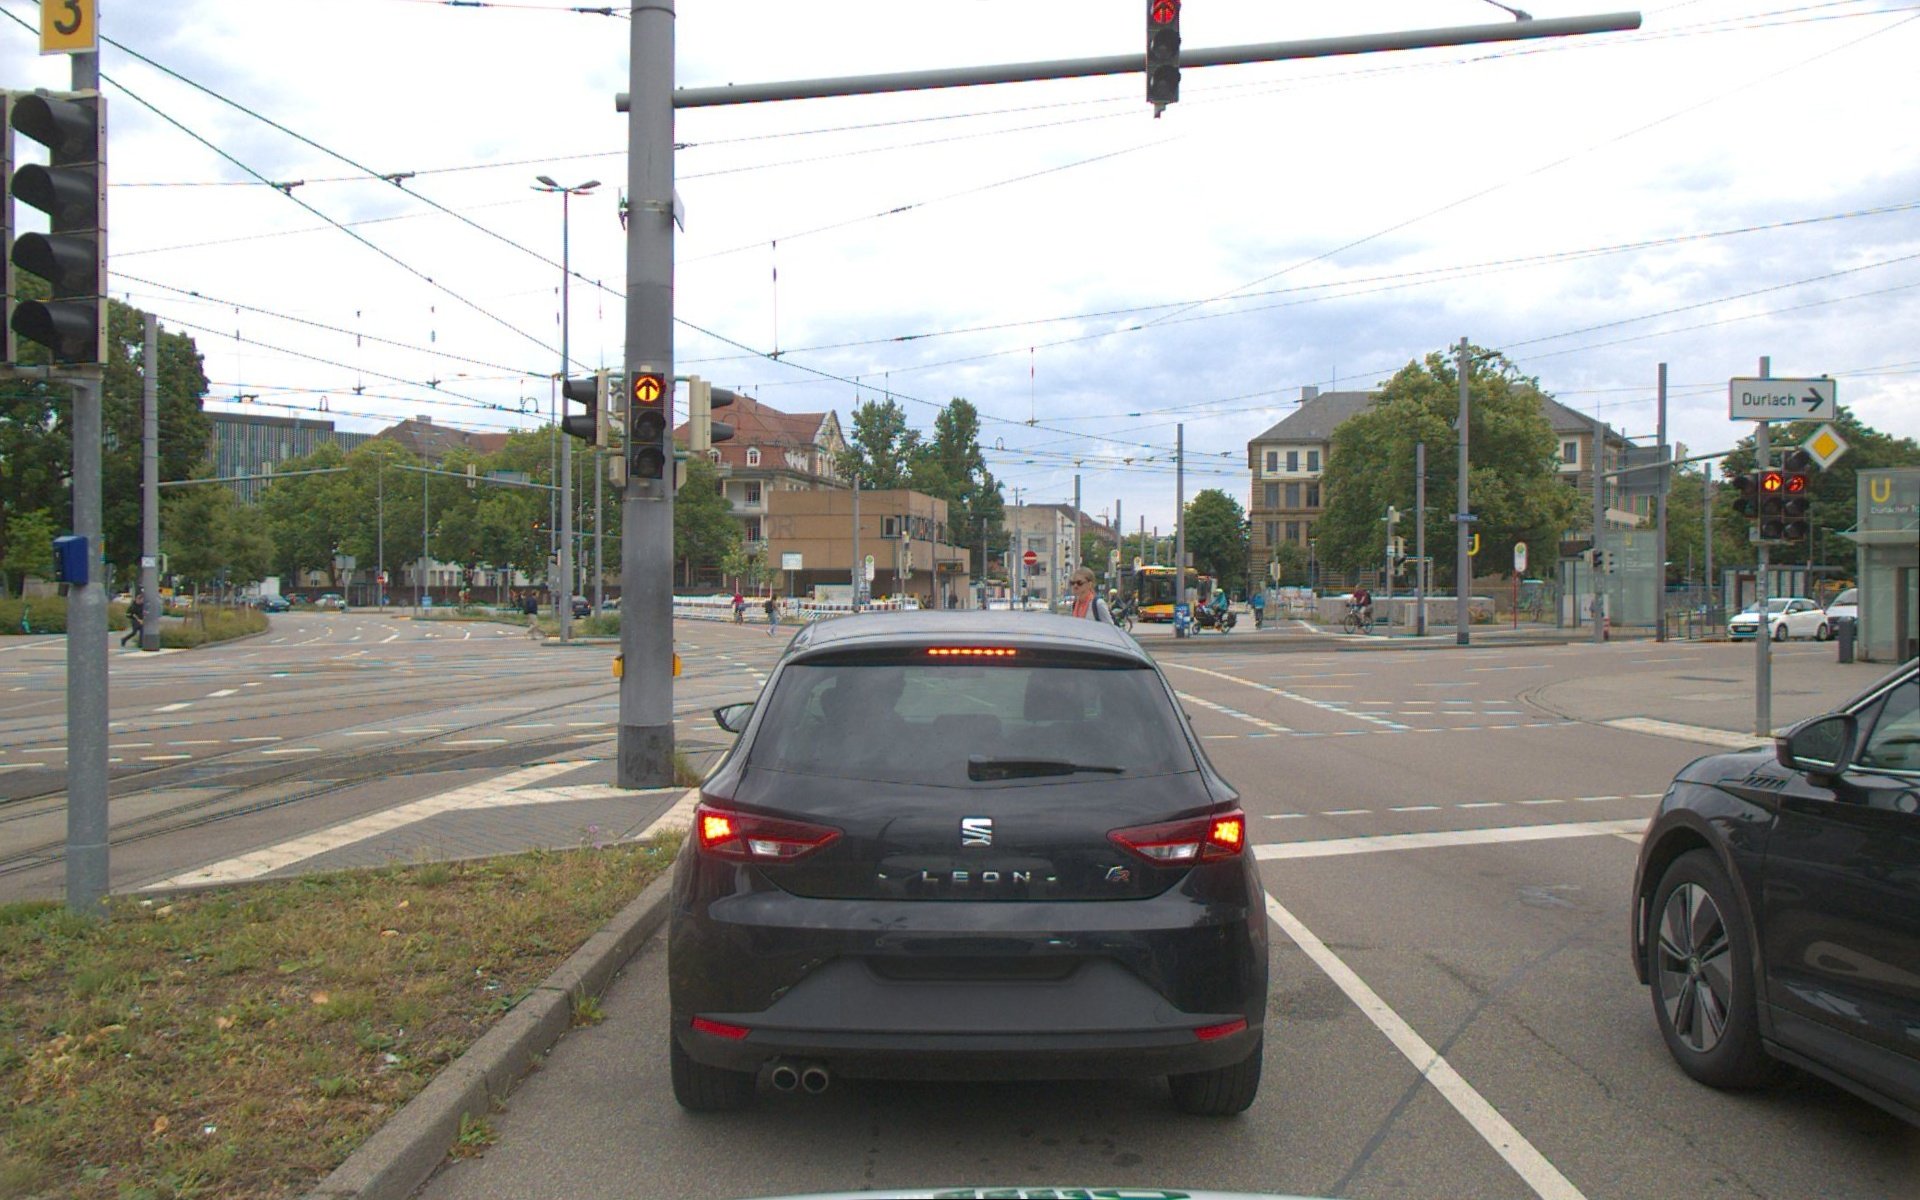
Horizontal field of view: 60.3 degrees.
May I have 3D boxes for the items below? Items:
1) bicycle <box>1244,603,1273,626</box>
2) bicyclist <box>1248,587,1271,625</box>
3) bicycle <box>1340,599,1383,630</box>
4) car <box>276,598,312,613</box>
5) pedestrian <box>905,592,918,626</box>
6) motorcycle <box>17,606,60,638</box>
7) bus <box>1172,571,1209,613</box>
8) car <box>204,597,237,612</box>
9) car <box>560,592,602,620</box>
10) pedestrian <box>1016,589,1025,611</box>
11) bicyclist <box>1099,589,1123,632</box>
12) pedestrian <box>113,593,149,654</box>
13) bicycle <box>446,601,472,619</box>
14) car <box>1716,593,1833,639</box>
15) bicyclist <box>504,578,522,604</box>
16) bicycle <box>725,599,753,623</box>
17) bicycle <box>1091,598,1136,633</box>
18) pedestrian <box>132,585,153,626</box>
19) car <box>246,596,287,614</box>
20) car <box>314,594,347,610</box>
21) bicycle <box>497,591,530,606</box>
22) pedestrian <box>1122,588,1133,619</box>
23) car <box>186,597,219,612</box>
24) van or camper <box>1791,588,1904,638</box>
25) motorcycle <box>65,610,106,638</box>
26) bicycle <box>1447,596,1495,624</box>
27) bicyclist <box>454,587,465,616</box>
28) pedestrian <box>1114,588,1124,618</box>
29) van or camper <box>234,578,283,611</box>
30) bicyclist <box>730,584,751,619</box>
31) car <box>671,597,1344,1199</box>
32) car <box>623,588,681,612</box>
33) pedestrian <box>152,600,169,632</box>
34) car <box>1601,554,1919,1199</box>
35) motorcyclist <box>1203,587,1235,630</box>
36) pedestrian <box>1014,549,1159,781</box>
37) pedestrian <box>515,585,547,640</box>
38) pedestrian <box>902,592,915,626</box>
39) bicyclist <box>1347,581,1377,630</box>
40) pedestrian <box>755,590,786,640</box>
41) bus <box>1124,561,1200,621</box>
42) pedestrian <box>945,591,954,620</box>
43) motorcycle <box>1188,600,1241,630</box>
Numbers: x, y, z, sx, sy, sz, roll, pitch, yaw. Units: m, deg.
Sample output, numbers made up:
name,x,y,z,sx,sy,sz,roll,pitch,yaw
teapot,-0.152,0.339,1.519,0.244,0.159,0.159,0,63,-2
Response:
name,x,y,z,sx,sy,sz,roll,pitch,yaw
bicycle,14.843,0.700,82.219,0.849,1.124,2.299,0,0,-5
bicyclist,14.857,0.297,82.114,0.854,1.884,1.046,0,0,-6
bicycle,15.766,0.554,64.923,0.764,1.205,2.019,0,0,43
car,-66.291,0.524,164.587,3.930,1.489,1.770,1,1,43
pedestrian,-2.873,0.529,97.323,0.693,1.951,0.624,0,0,7
motorcycle,-37.896,0.899,68.007,0.503,1.290,1.463,0,0,43
bus,19.156,-0.624,136.969,2.597,3.340,11.004,0,0,10
car,-75.361,0.484,168.558,3.932,1.489,1.770,1,1,44
car,-23.949,0.411,104.394,1.966,1.713,3.973,0,-1,-22
pedestrian,5.212,0.002,142.547,0.609,1.952,0.710,-1,-1,25
bicyclist,5.959,0.403,65.281,0.837,1.702,0.653,0,0,-5
pedestrian,-28.370,0.786,56.609,1.006,2.049,0.841,0,0,-20
bicycle,-35.829,0.738,118.280,0.427,1.258,1.817,-2,-2,42
car,27.490,0.552,55.809,3.948,1.490,1.756,0,-1,-32
bicyclist,-35.758,-0.748,132.274,0.919,2.049,0.977,0,0,28
bicycle,-11.191,0.560,83.811,0.879,1.199,2.286,0,0,-22
bicycle,6.048,0.603,65.289,1.696,1.345,0.645,0,0,-5
pedestrian,-40.132,0.263,81.164,0.787,2.016,0.870,1,-2,-35
car,-59.632,0.421,142.226,3.930,1.489,1.770,0,0,43
car,-59.929,0.176,157.430,1.764,1.489,3.945,0,1,-39
bicycle,-35.728,-0.100,132.295,0.921,1.199,2.726,0,0,28
pedestrian,10.587,0.220,104.608,0.608,1.951,0.699,0,0,9
car,-80.702,0.478,176.159,3.926,1.489,1.772,1,1,41
van or camper,32.116,0.480,59.849,4.257,1.773,1.974,0,-1,-36
motorcycle,-36.977,1.002,69.949,0.499,1.130,1.746,0,0,12
bicycle,25.525,0.512,82.644,2.214,1.354,0.707,-1,-1,6
bicyclist,-35.801,0.126,118.323,0.505,2.049,0.586,-2,-2,42
pedestrian,10.177,0.193,105.663,0.608,1.951,0.711,0,0,2
van or camper,-69.251,-0.576,163.194,5.403,3.179,2.382,0,0,41
bicyclist,-11.063,0.081,83.454,0.870,1.762,0.888,0,0,-22
car,-0.018,0.734,5.985,1.671,1.474,3.808,0,0,-5
car,-22.855,0.022,122.688,3.905,1.713,2.000,0,-1,0
pedestrian,-49.480,0.995,102.349,0.865,2.016,0.791,0,-1,-19
car,3.269,0.702,3.777,1.741,1.625,4.508,0,0,-2
motorcyclist,10.176,0.315,64.955,0.968,1.678,0.741,0,-1,-34
pedestrian,1.115,0.549,14.506,1.096,1.940,0.724,1,-1,-44
pedestrian,-15.633,0.441,60.276,1.015,1.968,0.695,0,0,-26
pedestrian,-2.991,0.516,96.526,0.693,1.951,0.624,0,0,7
bicyclist,15.762,0.213,64.892,0.764,1.931,0.990,0,0,43
pedestrian,-7.454,0.584,65.182,0.687,1.968,1.026,0,0,38
bus,11.556,-0.502,93.640,2.897,3.178,11.548,0,0,14
pedestrian,-0.708,0.377,110.840,0.608,1.951,0.711,0,0,2
motorcycle,9.977,0.569,64.827,2.115,1.159,0.735,0,0,-34
